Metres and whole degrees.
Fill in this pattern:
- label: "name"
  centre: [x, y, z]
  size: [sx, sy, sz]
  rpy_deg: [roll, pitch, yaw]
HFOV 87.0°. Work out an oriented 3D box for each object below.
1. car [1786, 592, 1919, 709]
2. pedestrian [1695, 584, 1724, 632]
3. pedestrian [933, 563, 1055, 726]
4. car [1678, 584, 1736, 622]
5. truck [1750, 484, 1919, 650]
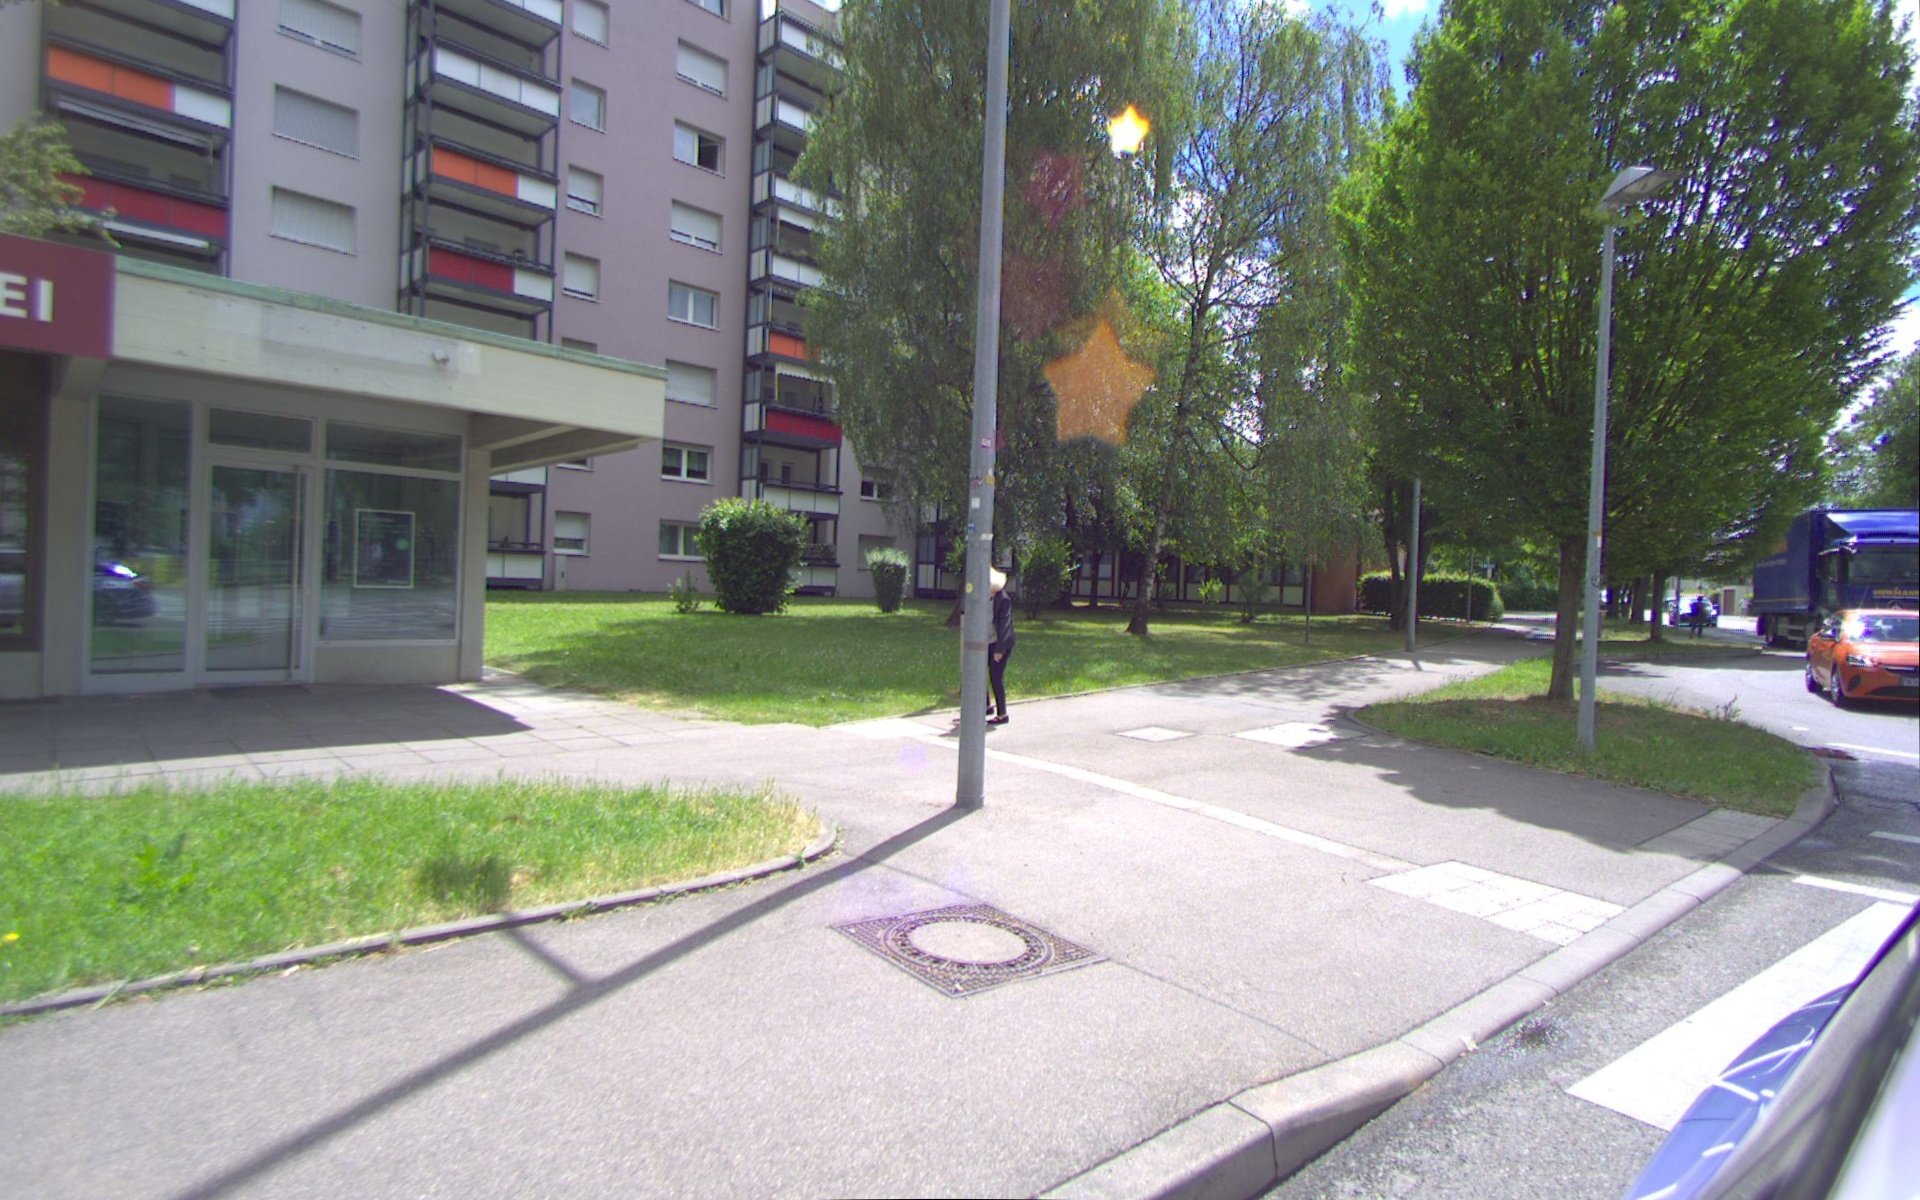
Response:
- label: "car"
  centre: [14.504, 0.696, 15.684]
  size: [1.750, 1.577, 3.963]
  rpy_deg: [-2, 0, 27]
- label: "pedestrian"
  centre: [26.081, 0.264, 35.224]
  size: [0.716, 1.598, 0.831]
  rpy_deg: [2, 3, 35]
- label: "pedestrian"
  centre: [0.337, 0.422, 10.191]
  size: [0.789, 1.538, 0.874]
  rpy_deg: [3, 0, -39]
- label: "car"
  centre: [37.170, 0.184, 50.448]
  size: [1.986, 1.697, 3.953]
  rpy_deg: [3, 0, 32]
- label: "truck"
  centre: [26.406, -0.804, 30.020]
  size: [2.763, 4.205, 9.703]
  rpy_deg: [2, 0, 27]
